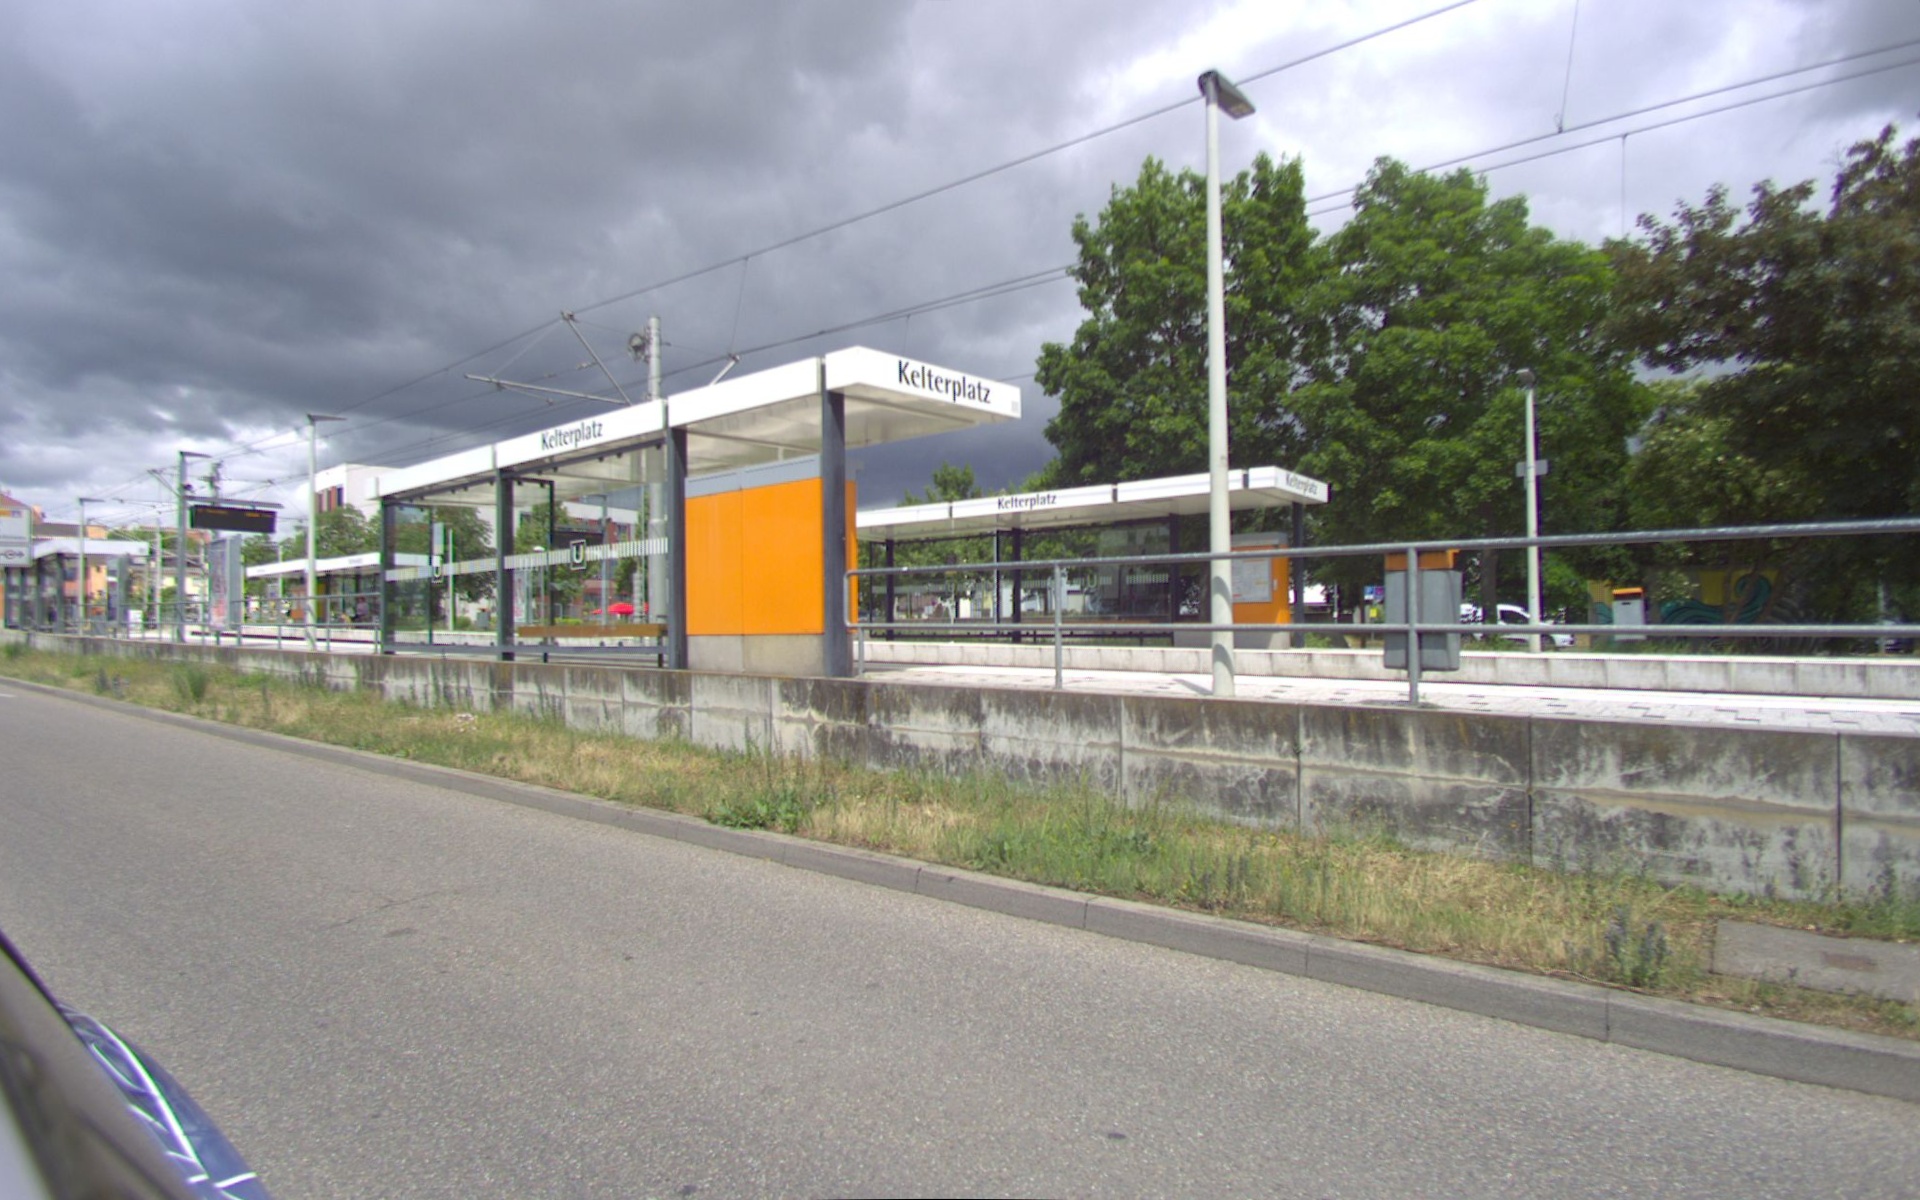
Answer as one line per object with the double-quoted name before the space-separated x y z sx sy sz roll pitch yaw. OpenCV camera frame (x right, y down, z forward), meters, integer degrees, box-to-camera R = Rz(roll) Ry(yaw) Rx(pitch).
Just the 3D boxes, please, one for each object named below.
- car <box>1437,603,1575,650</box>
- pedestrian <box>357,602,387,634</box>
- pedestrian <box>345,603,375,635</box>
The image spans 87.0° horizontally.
"car" 21.260 1.054 39.503 4.404 1.691 1.922 -3 -3 41
"pedestrian" -24.329 0.761 41.889 1.112 1.302 0.749 -1 -2 41
"pedestrian" -25.272 0.810 42.648 1.112 1.302 0.749 -1 -2 41
